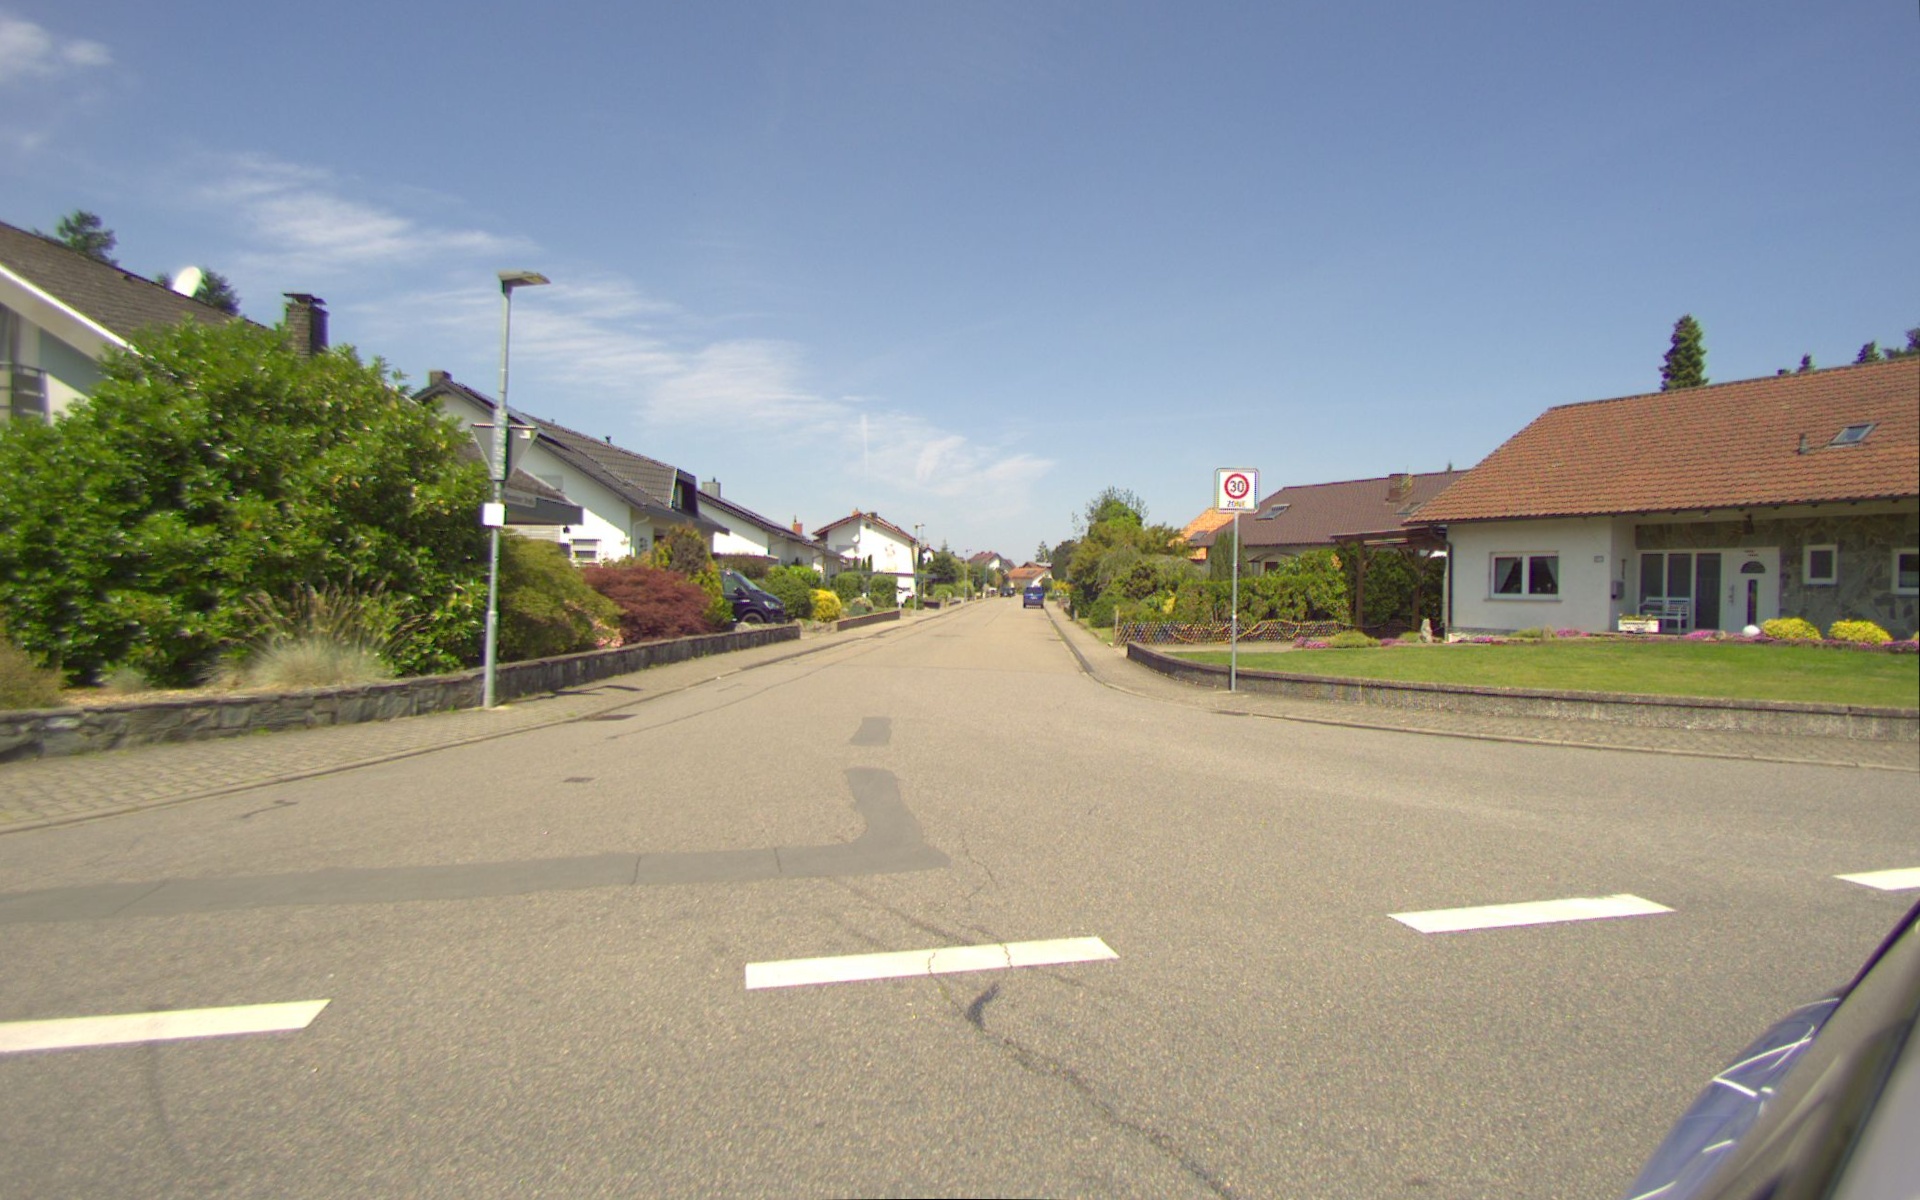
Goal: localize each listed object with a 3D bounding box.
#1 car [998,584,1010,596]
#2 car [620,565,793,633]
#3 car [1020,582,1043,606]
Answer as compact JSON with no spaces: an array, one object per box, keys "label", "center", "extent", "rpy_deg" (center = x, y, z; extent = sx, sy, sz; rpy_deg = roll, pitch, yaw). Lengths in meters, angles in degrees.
[{"label":"car","center":[7.594,-1.722,175.607],"extent":[1.841,1.950,4.001],"rpy_deg":[1,1,0]},{"label":"car","center":[-7.669,-0.037,30.986],"extent":[4.869,1.939,1.930],"rpy_deg":[1,1,-2]},{"label":"car","center":[5.844,-0.488,82.078],"extent":[1.796,1.905,3.995],"rpy_deg":[1,1,5]}]
